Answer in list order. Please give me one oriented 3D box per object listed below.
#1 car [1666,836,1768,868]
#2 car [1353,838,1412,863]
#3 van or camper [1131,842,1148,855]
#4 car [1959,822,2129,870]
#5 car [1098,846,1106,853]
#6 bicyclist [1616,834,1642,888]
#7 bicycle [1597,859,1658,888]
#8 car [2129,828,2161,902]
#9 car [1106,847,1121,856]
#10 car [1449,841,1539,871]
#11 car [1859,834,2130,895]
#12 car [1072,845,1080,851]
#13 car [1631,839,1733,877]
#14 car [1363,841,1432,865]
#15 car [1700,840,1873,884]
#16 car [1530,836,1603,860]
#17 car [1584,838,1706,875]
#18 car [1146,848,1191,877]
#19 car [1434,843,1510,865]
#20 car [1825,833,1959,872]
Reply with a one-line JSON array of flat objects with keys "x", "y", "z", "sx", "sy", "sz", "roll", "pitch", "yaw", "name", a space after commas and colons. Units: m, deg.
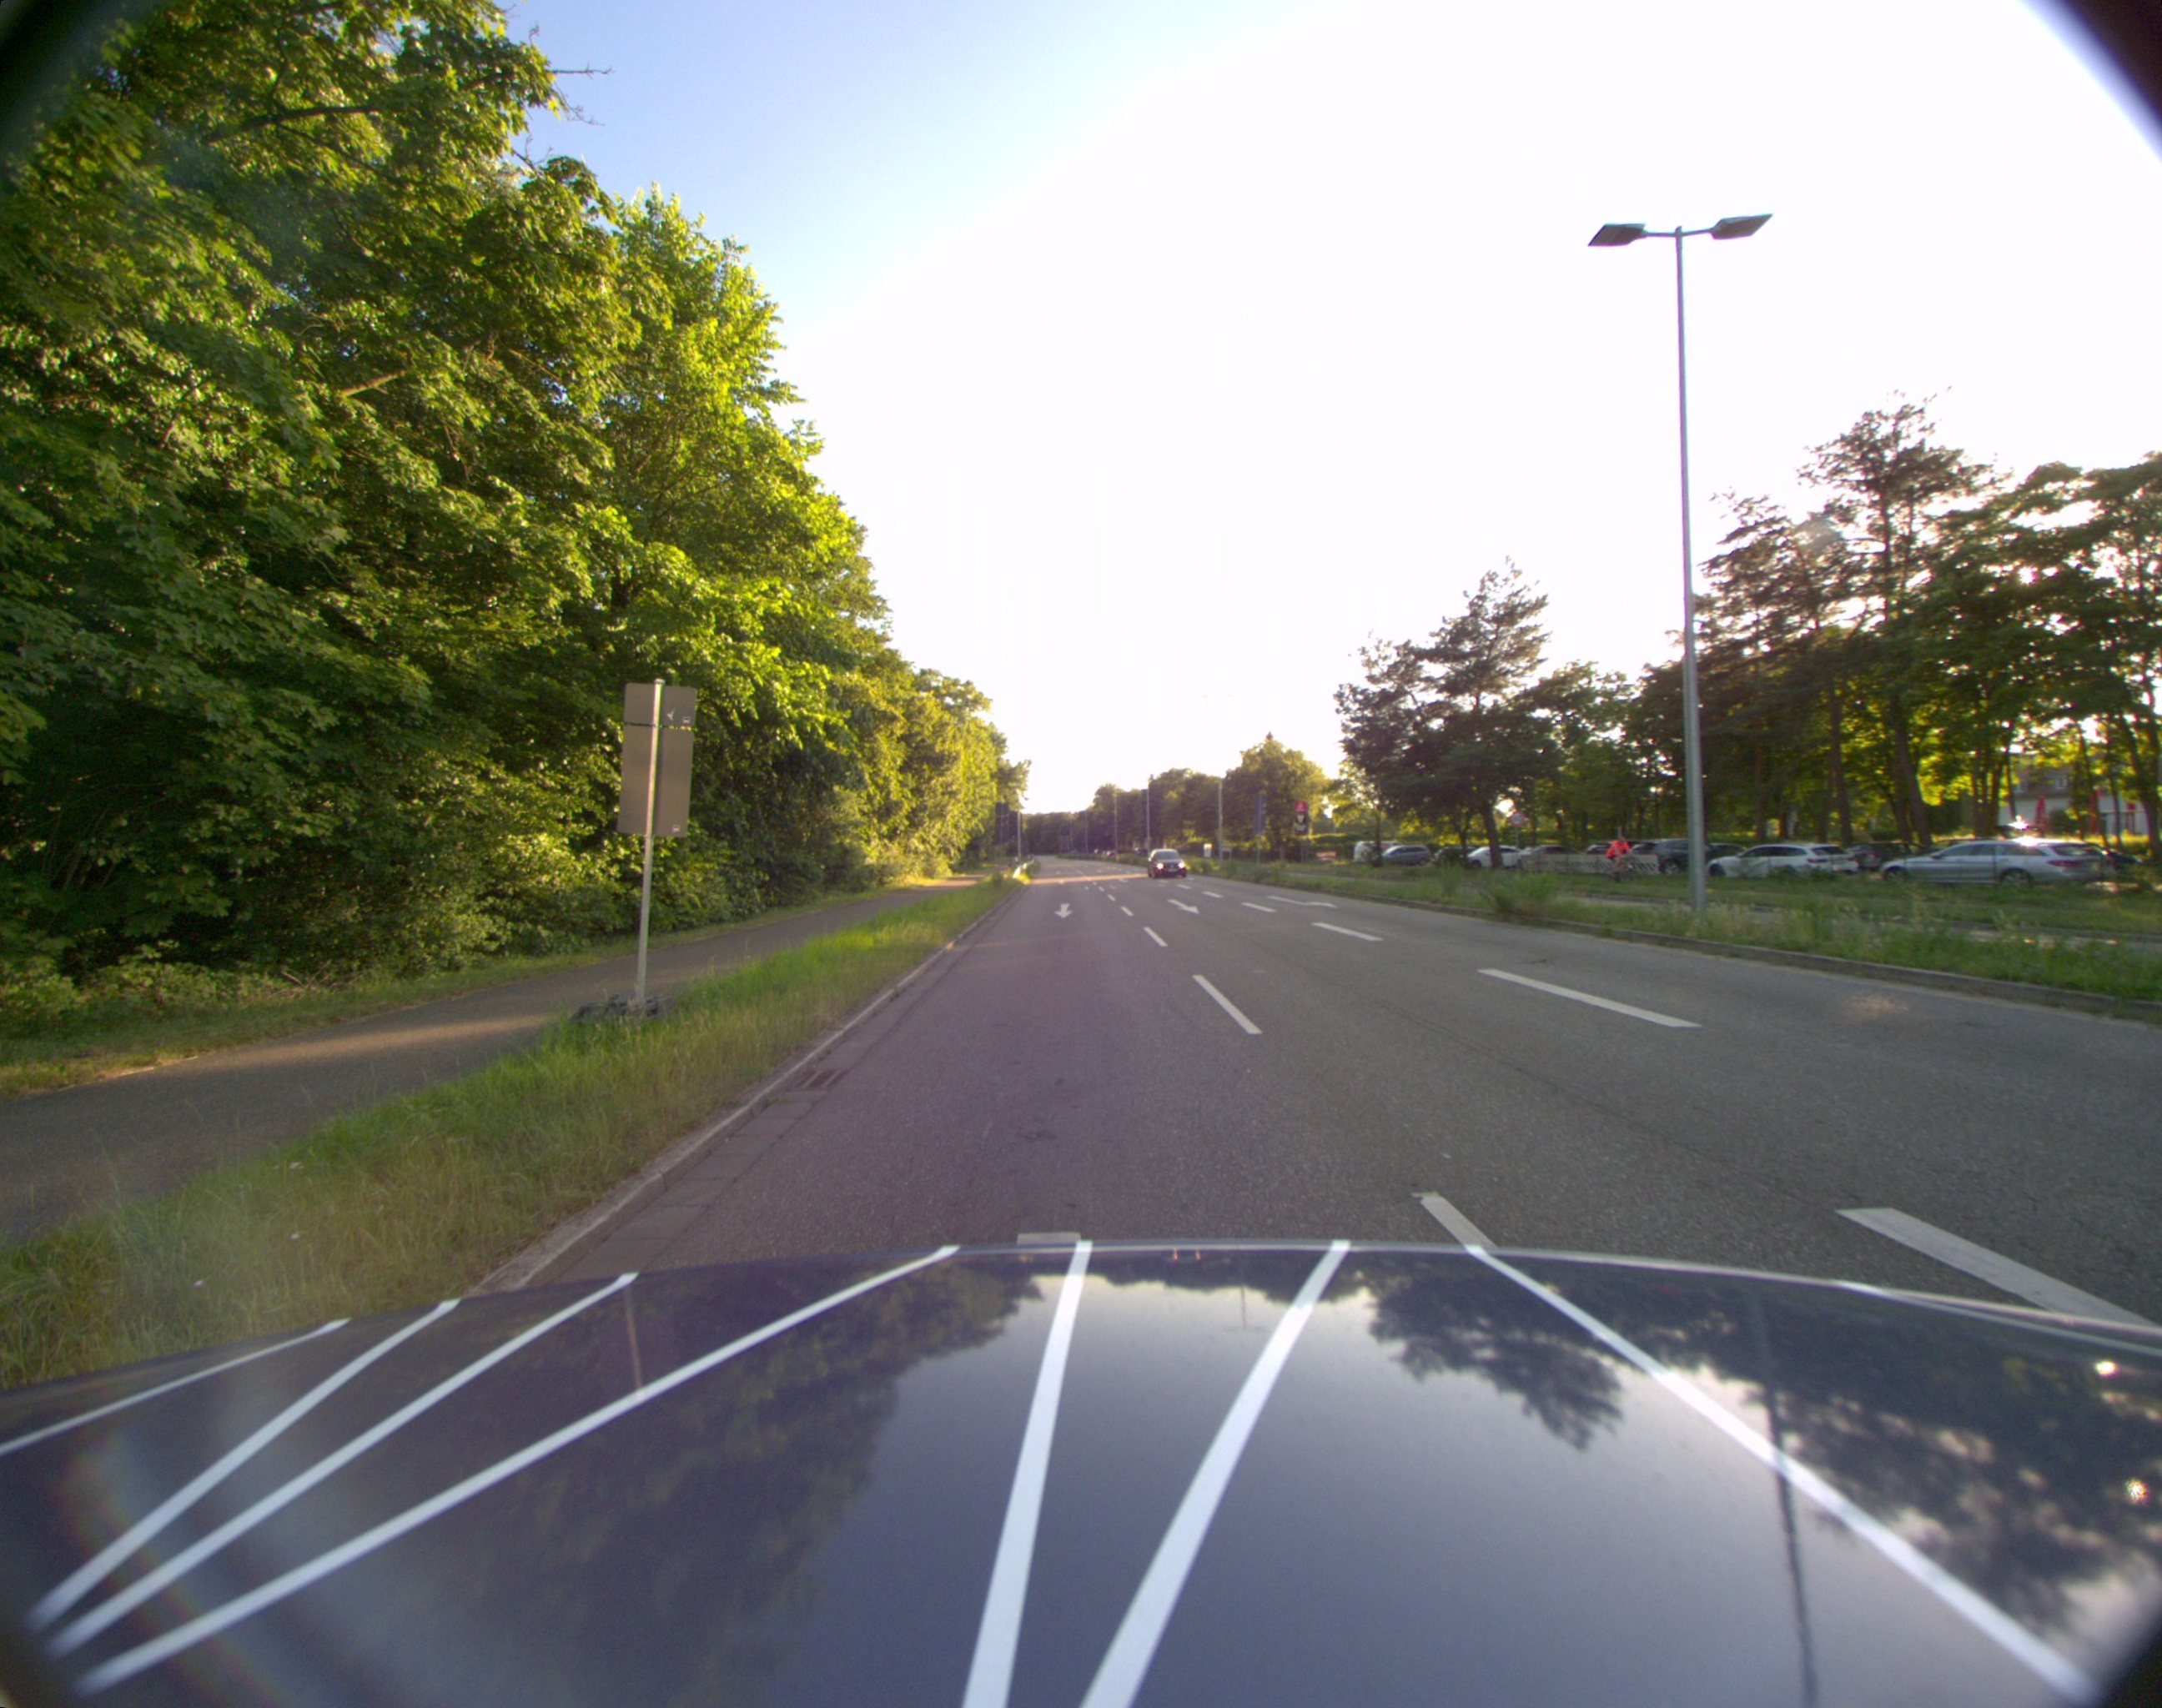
[{"x": 34.076, "y": -0.118, "z": 40.795, "sx": 3.997, "sy": 1.641, "sz": 1.766, "roll": -1, "pitch": 1, "yaw": -1, "name": "car"}, {"x": 24.198, "y": -0.250, "z": 61.061, "sx": 3.998, "sy": 1.933, "sz": 1.766, "roll": -1, "pitch": 1, "yaw": -2, "name": "car"}, {"x": 9.536, "y": -0.914, "z": 124.599, "sx": 1.999, "sy": 2.002, "sz": 4.575, "roll": -1, "pitch": 1, "yaw": -4, "name": "van or camper"}, {"x": 34.977, "y": -0.283, "z": 27.684, "sx": 3.997, "sy": 1.641, "sz": 1.766, "roll": -1, "pitch": 1, "yaw": -1, "name": "car"}, {"x": 4.876, "y": -1.144, "z": 176.689, "sx": 1.760, "sy": 1.532, "sz": 3.998, "roll": -3, "pitch": 1, "yaw": -1, "name": "car"}, {"x": 19.340, "y": 0.245, "z": 26.828, "sx": 0.459, "sy": 1.863, "sz": 0.618, "roll": -1, "pitch": 1, "yaw": -5, "name": "bicyclist"}, {"x": 19.331, "y": 0.671, "z": 26.922, "sx": 0.493, "sy": 0.928, "sz": 2.043, "roll": -1, "pitch": 1, "yaw": -7, "name": "bicycle"}, {"x": 27.104, "y": 0.261, "z": 16.413, "sx": 1.999, "sy": 1.776, "sz": 4.920, "roll": -1, "pitch": 1, "yaw": -4, "name": "car"}, {"x": 5.832, "y": -0.453, "z": 136.389, "sx": 1.999, "sy": 1.486, "sz": 4.510, "roll": -1, "pitch": 0, "yaw": -6, "name": "car"}, {"x": 25.165, "y": 0.132, "z": 46.399, "sx": 4.497, "sy": 1.743, "sz": 1.909, "roll": -1, "pitch": 1, "yaw": -1, "name": "car"}, {"x": 26.772, "y": 0.249, "z": 22.620, "sx": 1.999, "sy": 1.597, "sz": 4.920, "roll": -1, "pitch": 1, "yaw": -4, "name": "car"}, {"x": -1.447, "y": -1.687, "z": 219.236, "sx": 1.760, "sy": 1.532, "sz": 3.998, "roll": -3, "pitch": 1, "yaw": -4, "name": "car"}, {"x": 25.760, "y": 0.167, "z": 32.631, "sx": 3.099, "sy": 1.518, "sz": 1.659, "roll": -1, "pitch": 1, "yaw": -2, "name": "car"}, {"x": 24.142, "y": -0.096, "z": 58.022, "sx": 4.498, "sy": 1.787, "sz": 1.909, "roll": -1, "pitch": 1, "yaw": -2, "name": "car"}, {"x": 26.417, "y": 0.260, "z": 28.729, "sx": 1.999, "sy": 1.539, "sz": 4.708, "roll": -1, "pitch": 1, "yaw": -4, "name": "car"}, {"x": 34.117, "y": -0.399, "z": 53.476, "sx": 3.997, "sy": 1.641, "sz": 1.766, "roll": -1, "pitch": 1, "yaw": -1, "name": "car"}, {"x": 26.492, "y": 0.112, "z": 35.773, "sx": 4.525, "sy": 1.608, "sz": 1.771, "roll": -1, "pitch": 1, "yaw": -3, "name": "car"}, {"x": 4.845, "y": 0.432, "z": 42.626, "sx": 1.999, "sy": 1.543, "sz": 3.999, "roll": -1, "pitch": 0, "yaw": -1, "name": "car"}, {"x": 25.071, "y": -0.019, "z": 48.800, "sx": 3.997, "sy": 1.304, "sz": 1.732, "roll": -1, "pitch": 1, "yaw": -1, "name": "car"}, {"x": 35.417, "y": -0.070, "z": 33.240, "sx": 3.997, "sy": 1.641, "sz": 1.766, "roll": -1, "pitch": 1, "yaw": -1, "name": "car"}]
